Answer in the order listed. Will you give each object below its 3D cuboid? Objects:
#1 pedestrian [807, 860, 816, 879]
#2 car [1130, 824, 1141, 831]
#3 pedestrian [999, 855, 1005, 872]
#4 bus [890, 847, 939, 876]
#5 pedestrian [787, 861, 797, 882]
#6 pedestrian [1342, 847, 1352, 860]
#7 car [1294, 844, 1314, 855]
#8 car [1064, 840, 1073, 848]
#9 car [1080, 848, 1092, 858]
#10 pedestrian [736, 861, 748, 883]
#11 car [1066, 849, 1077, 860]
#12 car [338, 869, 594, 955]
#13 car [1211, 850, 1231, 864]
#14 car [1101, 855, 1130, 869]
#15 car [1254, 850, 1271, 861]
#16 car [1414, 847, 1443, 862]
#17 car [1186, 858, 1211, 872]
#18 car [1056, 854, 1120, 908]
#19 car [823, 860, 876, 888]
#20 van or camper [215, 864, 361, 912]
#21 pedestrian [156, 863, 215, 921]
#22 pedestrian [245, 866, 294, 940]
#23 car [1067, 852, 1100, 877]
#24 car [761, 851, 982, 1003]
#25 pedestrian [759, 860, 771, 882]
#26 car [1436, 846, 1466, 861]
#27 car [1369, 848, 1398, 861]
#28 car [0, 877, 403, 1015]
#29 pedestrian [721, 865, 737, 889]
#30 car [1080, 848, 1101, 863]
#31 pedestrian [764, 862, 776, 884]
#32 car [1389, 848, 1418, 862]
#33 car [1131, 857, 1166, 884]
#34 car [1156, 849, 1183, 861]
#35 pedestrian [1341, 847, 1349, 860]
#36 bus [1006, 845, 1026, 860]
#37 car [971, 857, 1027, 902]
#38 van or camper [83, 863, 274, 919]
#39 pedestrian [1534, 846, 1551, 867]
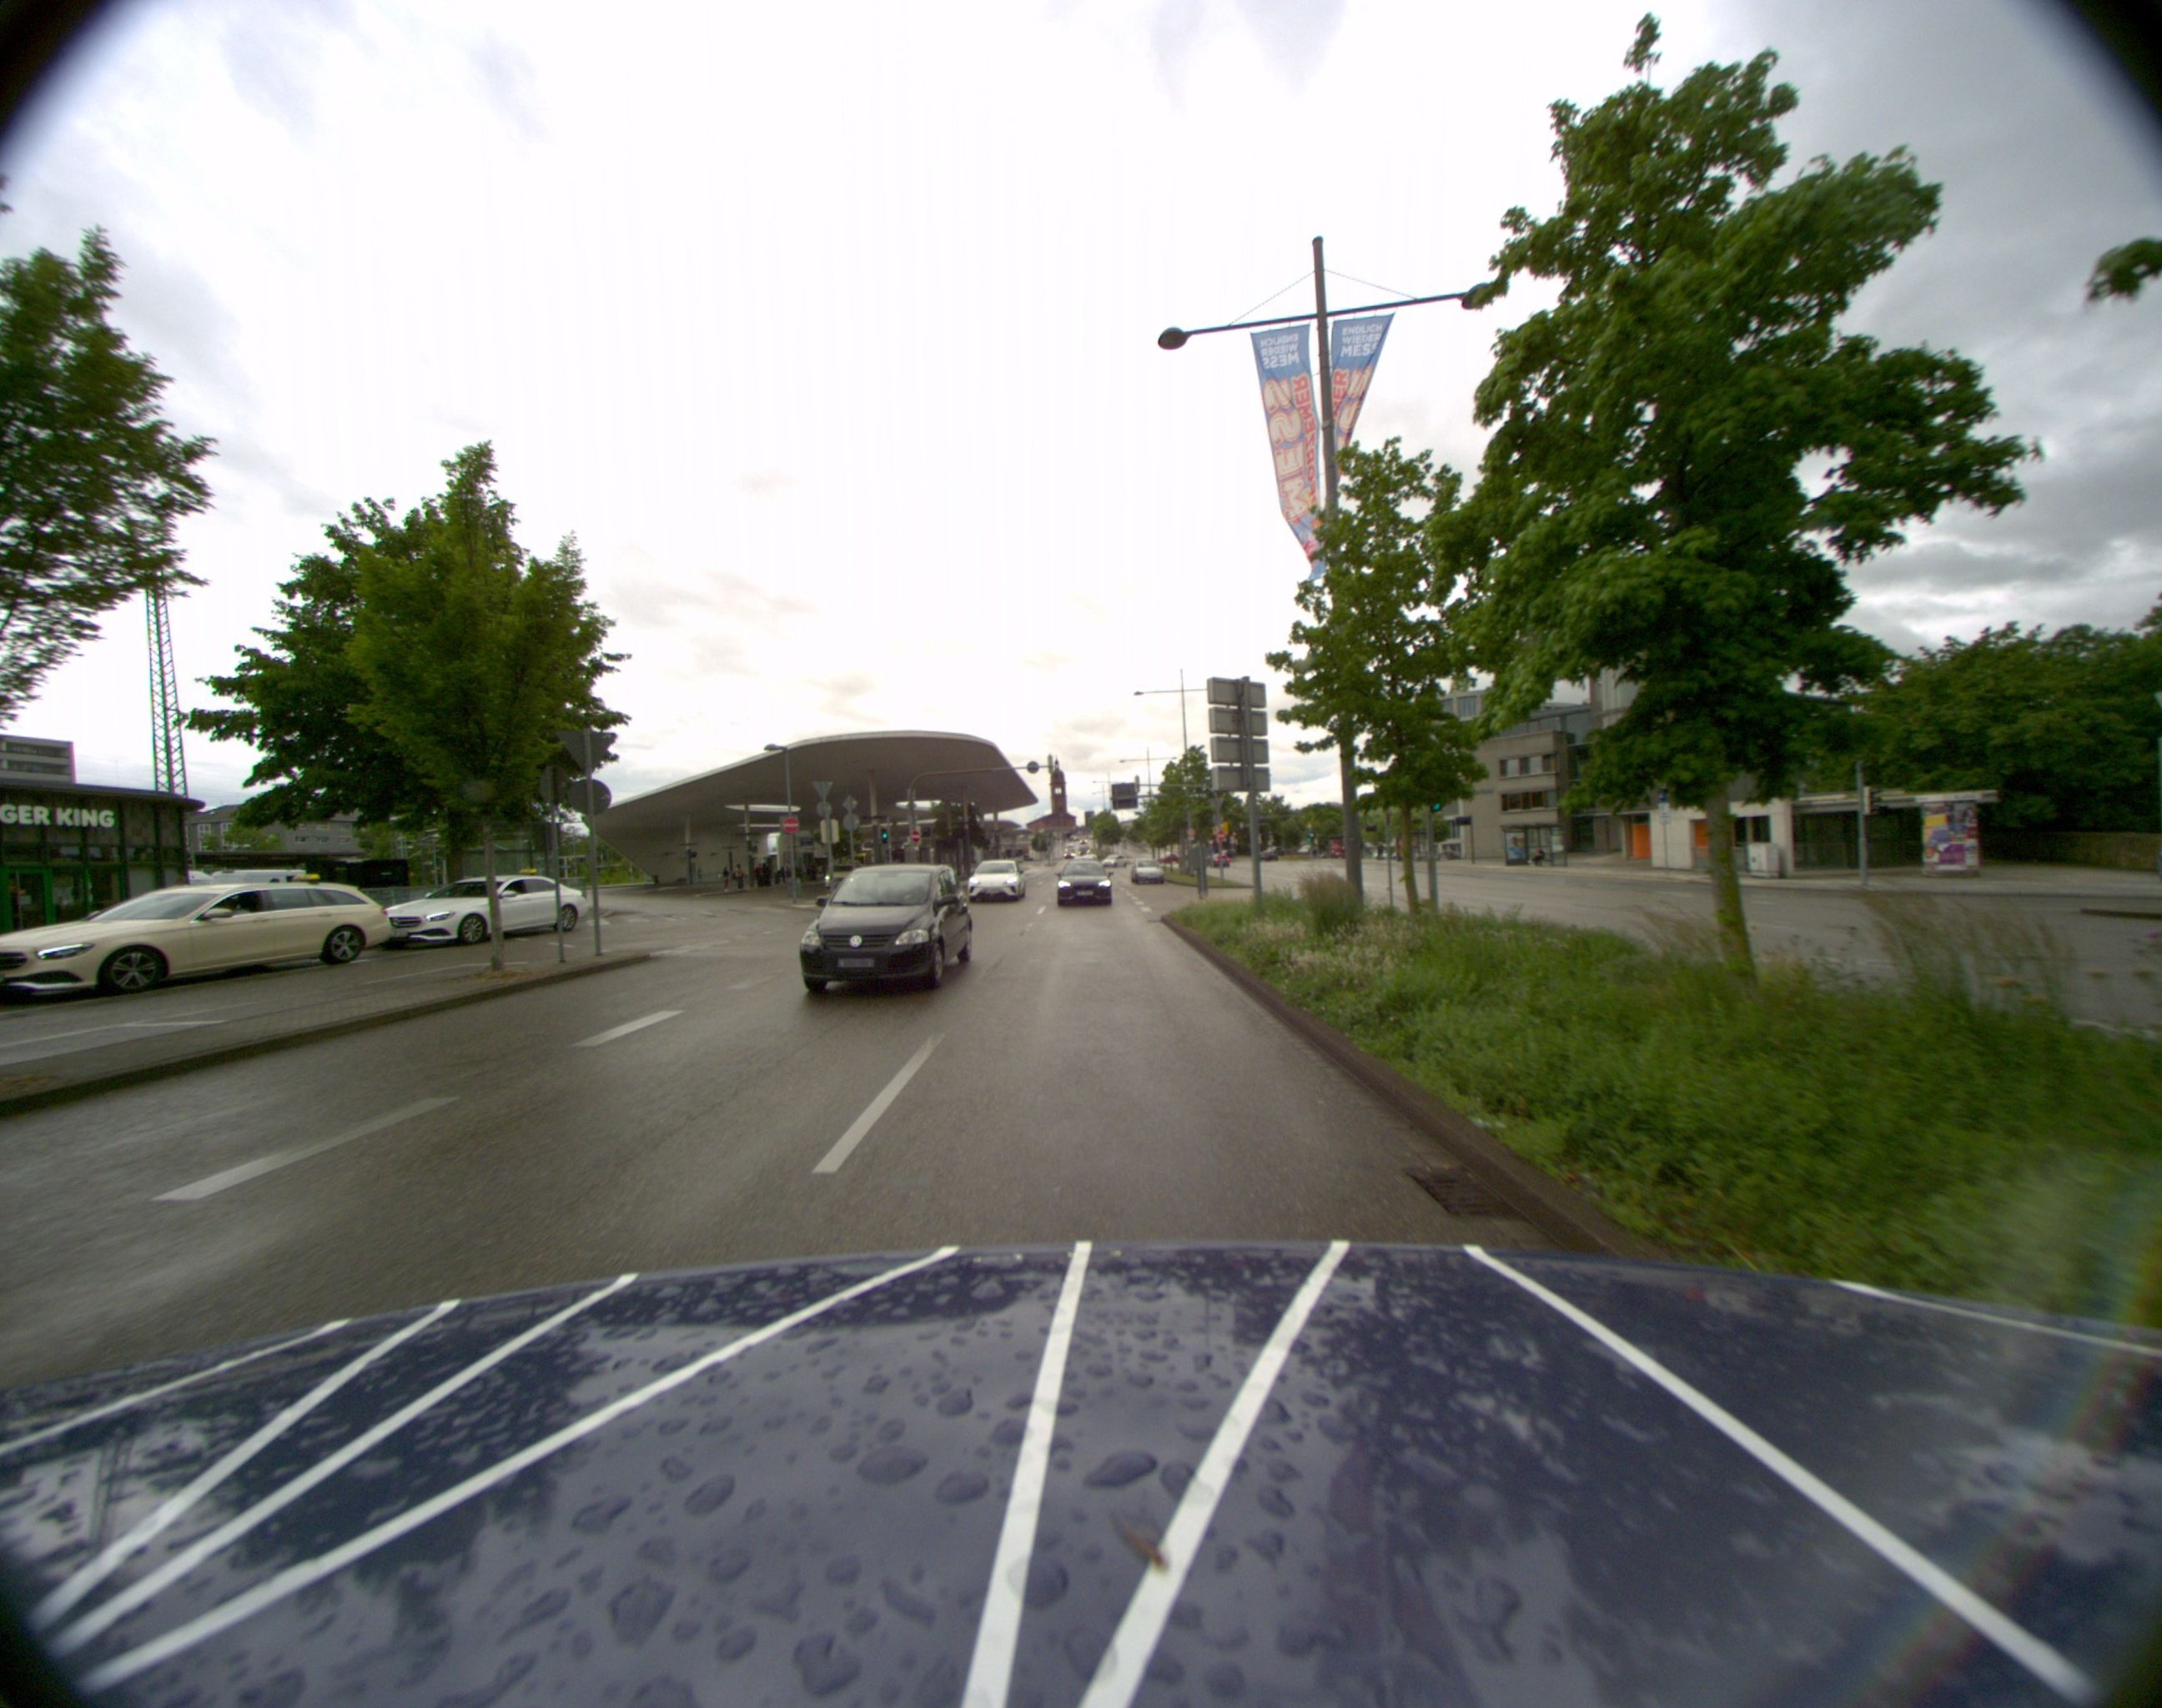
[{"bbox_3d":[-21.412,1.256,60.318,0.478,1.505,0.535,-1,1,4],"label":"pedestrian"},{"bbox_3d":[13.778,-6.749,191.027,1.873,1.624,4.162,-1,0,15],"label":"car"},{"bbox_3d":[-8.722,1.047,83.761,0.446,1.753,0.536,-2,1,-20],"label":"pedestrian"},{"bbox_3d":[-19.062,0.892,87.968,2.876,3.064,11.923,0,-1,1],"label":"bus"},{"bbox_3d":[-21.427,1.289,56.374,0.478,1.505,0.535,-1,1,4],"label":"pedestrian"},{"bbox_3d":[30.344,-0.061,86.626,0.983,1.481,0.735,0,1,11],"label":"pedestrian"},{"bbox_3d":[40.028,-0.841,136.202,1.994,1.871,4.008,0,1,39],"label":"car"},{"bbox_3d":[-2.571,-2.082,160.746,1.649,1.551,3.648,0,1,-5],"label":"car"},{"bbox_3d":[0.977,-0.227,145.983,1.999,2.002,3.998,0,1,-5],"label":"car"},{"bbox_3d":[-23.494,1.275,52.637,0.533,1.505,0.480,-1,1,35],"label":"pedestrian"},{"bbox_3d":[-1.772,0.096,142.041,1.999,2.002,3.999,0,1,-1],"label":"car"},{"bbox_3d":[-13.946,1.221,17.738,1.884,1.590,4.903,0,1,1],"label":"car"},{"bbox_3d":[15.923,0.339,86.454,1.698,1.457,4.453,0,1,4],"label":"car"},{"bbox_3d":[4.457,1.024,97.845,1.872,1.624,4.293,0,1,32],"label":"car"},{"bbox_3d":[25.127,0.204,105.342,1.680,1.503,3.864,0,1,4],"label":"car"},{"bbox_3d":[42.490,0.044,92.908,4.166,1.692,1.872,-1,0,-44],"label":"car"},{"bbox_3d":[12.176,1.134,78.832,2.010,1.345,4.164,0,1,1],"label":"car"},{"bbox_3d":[0.154,0.848,25.903,1.876,1.692,4.156,0,0,-3],"label":"car"},{"bbox_3d":[-15.101,1.240,49.779,1.998,1.671,4.541,0,1,1],"label":"car"},{"bbox_3d":[-44.675,1.819,43.079,1.998,2.419,5.864,0,1,1],"label":"van or camper"},{"bbox_3d":[-24.960,1.053,21.187,0.770,1.571,0.710,0,1,-1],"label":"pedestrian"},{"bbox_3d":[-24.397,1.460,22.863,0.799,2.152,0.721,-1,1,-30],"label":"pedestrian"},{"bbox_3d":[0.148,0.668,52.459,1.876,1.624,4.298,0,1,-5],"label":"car"},{"bbox_3d":[-2.595,0.803,10.507,1.875,1.692,4.157,0,0,0],"label":"car"},{"bbox_3d":[-21.612,1.174,52.008,0.534,1.505,0.479,-1,1,5],"label":"pedestrian"},{"bbox_3d":[44.478,-0.067,91.310,4.166,1.692,1.871,-1,1,-44],"label":"car"},{"bbox_3d":[38.661,0.047,96.937,4.166,1.692,1.871,-1,1,-44],"label":"car"},{"bbox_3d":[-14.003,1.233,12.031,1.998,1.590,4.958,0,0,1],"label":"car"},{"bbox_3d":[-23.330,1.505,50.366,0.641,1.586,0.741,0,1,15],"label":"pedestrian"},{"bbox_3d":[1.081,0.175,86.302,1.874,1.624,4.160,0,1,9],"label":"car"},{"bbox_3d":[-21.014,1.272,51.320,0.534,1.505,0.479,-1,1,5],"label":"pedestrian"},{"bbox_3d":[40.344,0.052,95.078,4.166,1.692,1.871,-1,1,-44],"label":"car"},{"bbox_3d":[3.926,0.964,44.857,1.699,1.457,3.719,0,1,0],"label":"car"},{"bbox_3d":[12.719,0.183,109.188,1.871,1.624,4.166,-1,0,41],"label":"car"},{"bbox_3d":[30.481,-0.070,87.599,0.732,1.481,0.735,0,1,9],"label":"pedestrian"},{"bbox_3d":[-13.733,-0.342,159.566,3.585,3.080,10.746,-1,0,-8],"label":"bus"},{"bbox_3d":[-3.028,0.903,28.812,1.811,1.550,4.048,0,1,-2],"label":"car"},{"bbox_3d":[-42.056,1.682,35.560,5.863,2.419,2.164,0,1,-6],"label":"van or camper"},{"bbox_3d":[28.957,0.141,47.641,0.668,1.292,0.720,0,1,6],"label":"pedestrian"}]
